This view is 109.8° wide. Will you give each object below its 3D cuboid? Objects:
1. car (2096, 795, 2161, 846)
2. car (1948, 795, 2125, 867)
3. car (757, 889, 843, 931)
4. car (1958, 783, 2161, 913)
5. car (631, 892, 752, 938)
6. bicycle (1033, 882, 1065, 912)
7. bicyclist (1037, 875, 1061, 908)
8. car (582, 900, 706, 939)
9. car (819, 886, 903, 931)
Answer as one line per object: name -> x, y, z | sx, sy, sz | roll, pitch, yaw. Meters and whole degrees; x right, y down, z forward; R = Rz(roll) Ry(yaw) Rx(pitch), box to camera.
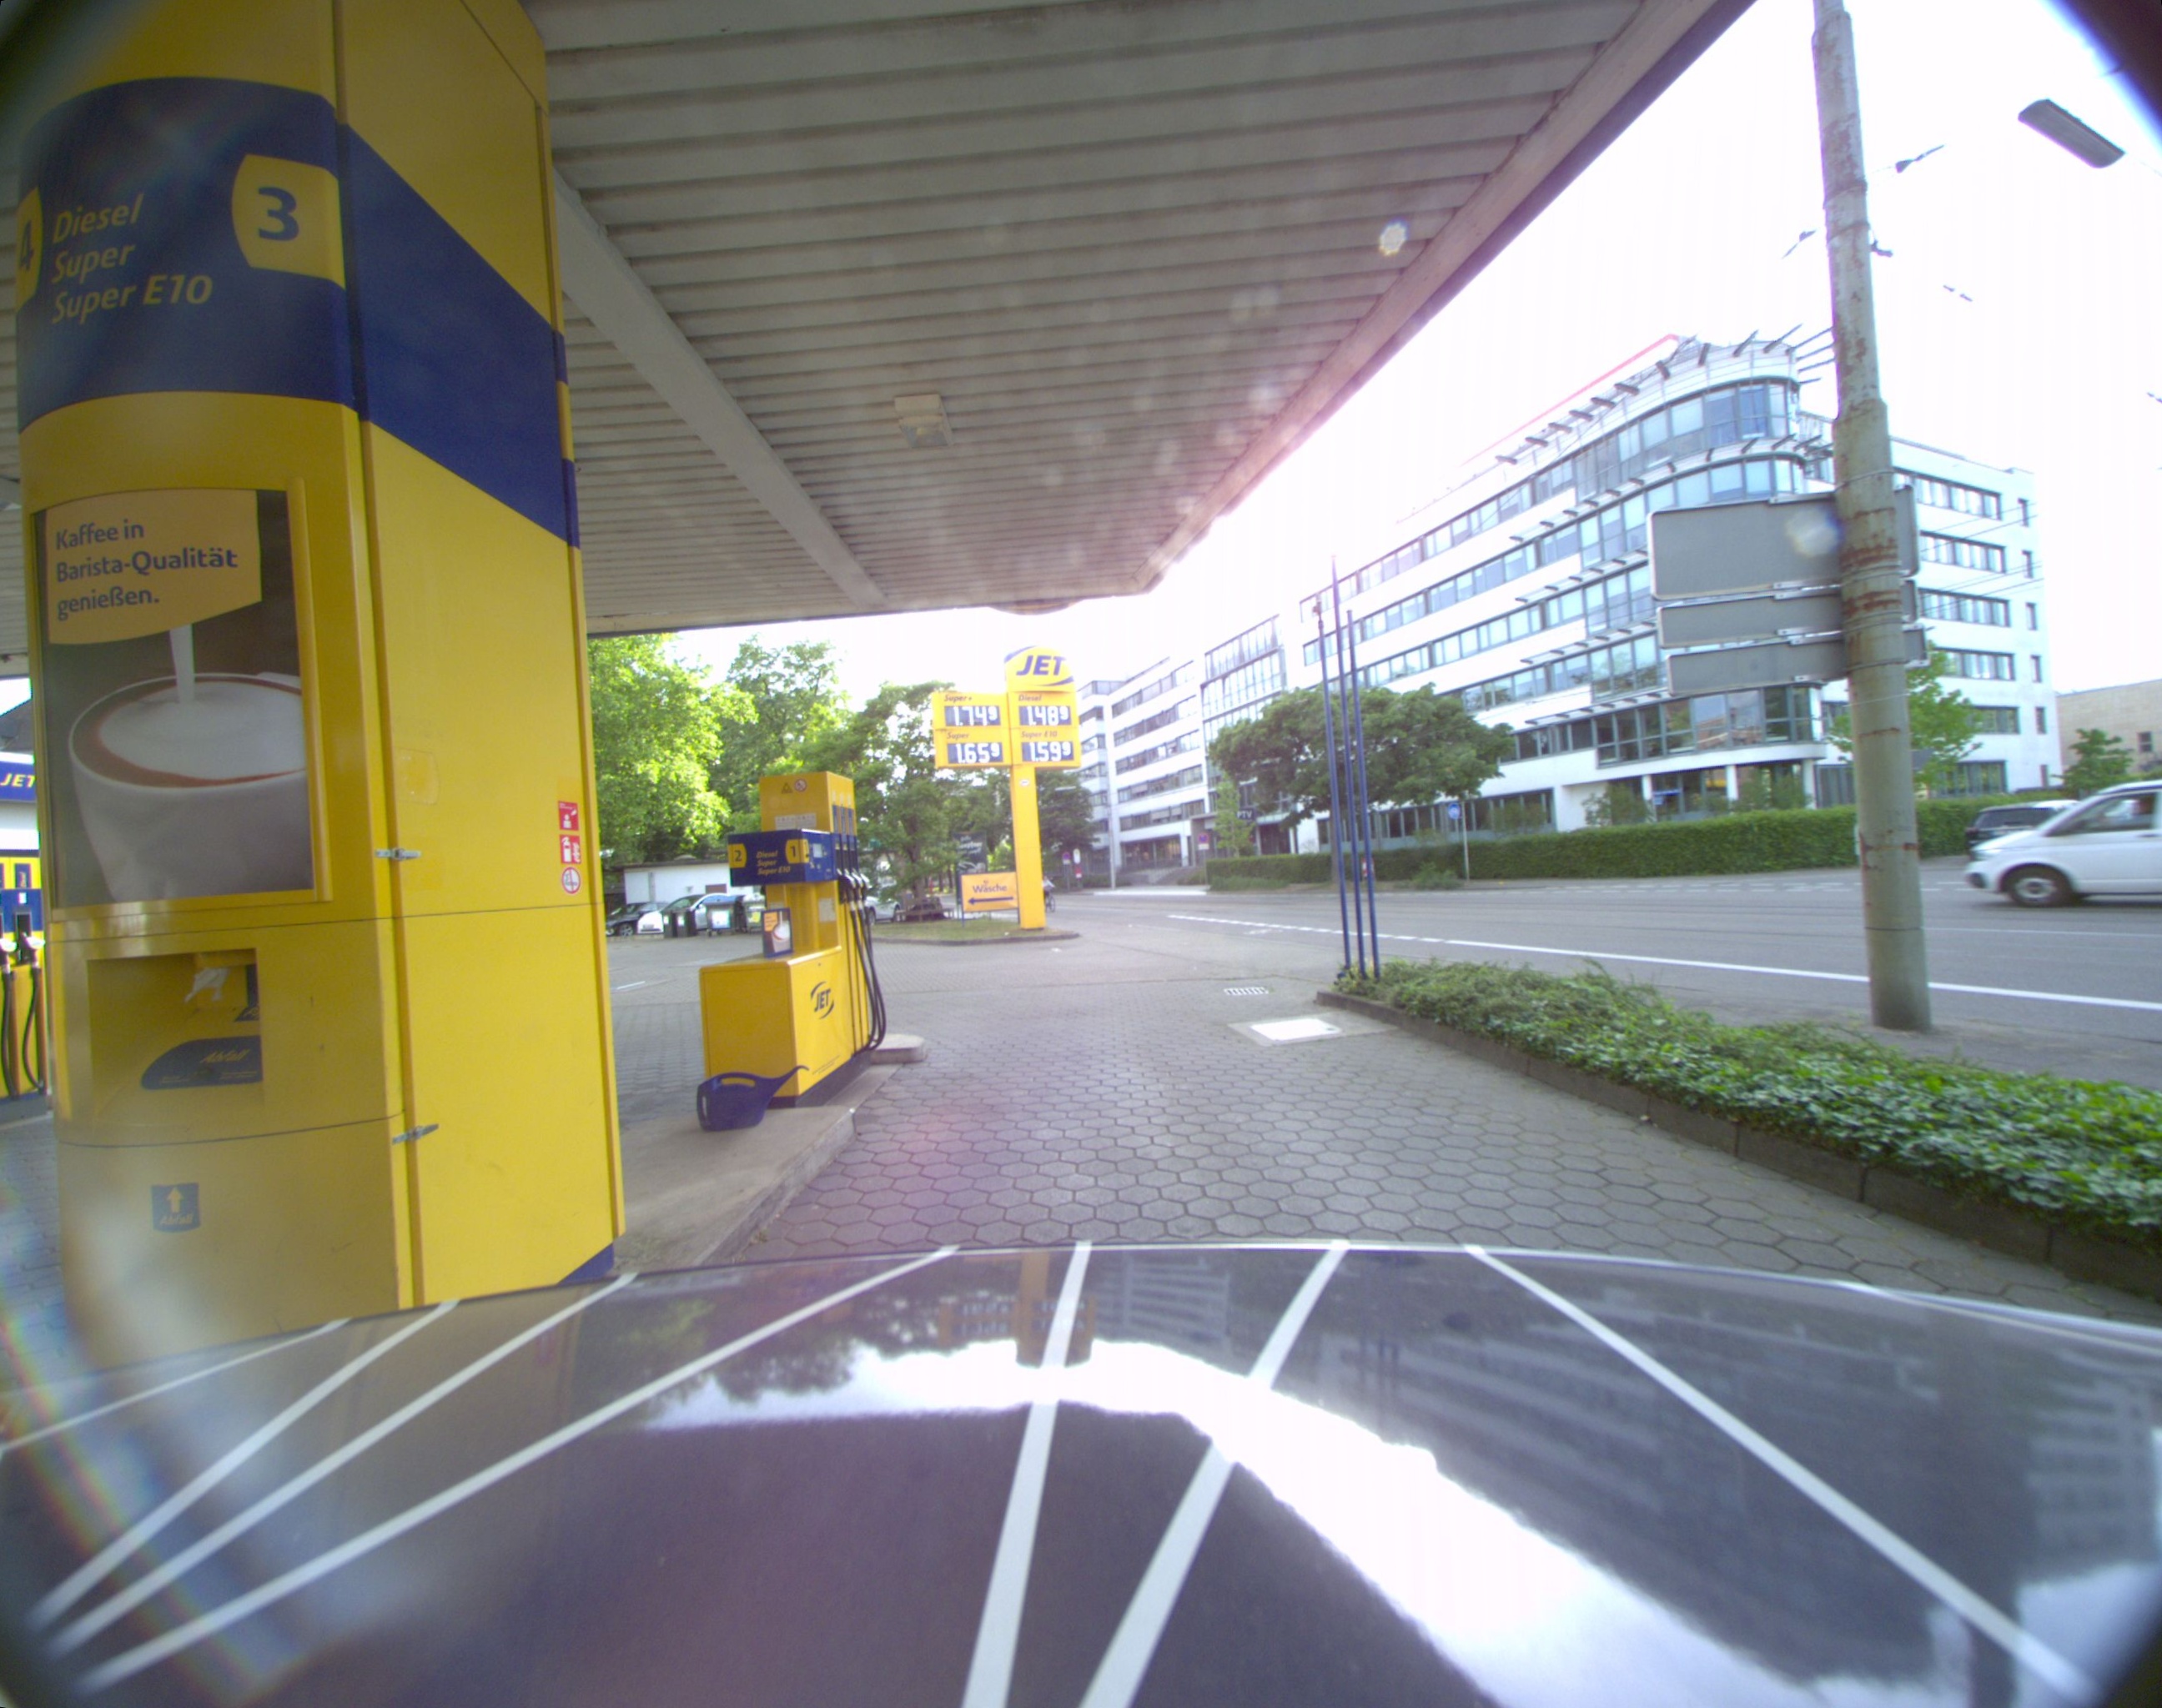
car -> 37.149, -1.234, 26.079 | 4.109, 1.544, 1.786 | -4, -1, -23
car -> 27.374, -0.647, 21.770 | 4.438, 1.603, 1.976 | -5, -1, -23
car -> -11.804, 2.323, 32.243 | 1.739, 1.500, 4.004 | -4, -2, 6
car -> 17.317, -0.157, 11.480 | 2.002, 1.956, 4.881 | -3, -1, -24
car -> -15.362, 2.384, 30.255 | 1.785, 1.514, 4.229 | -4, -3, 17
bicycle -> -1.494, 1.983, 35.120 | 0.736, 1.250, 1.936 | -6, 0, -21
bicyclist -> -1.479, 1.717, 35.036 | 0.736, 1.451, 0.915 | -6, 0, -21
car -> -17.748, 2.632, 31.071 | 1.745, 1.269, 4.230 | -5, -3, 19
car -> -8.688, 2.117, 30.381 | 1.739, 1.500, 4.003 | -4, -2, 6
